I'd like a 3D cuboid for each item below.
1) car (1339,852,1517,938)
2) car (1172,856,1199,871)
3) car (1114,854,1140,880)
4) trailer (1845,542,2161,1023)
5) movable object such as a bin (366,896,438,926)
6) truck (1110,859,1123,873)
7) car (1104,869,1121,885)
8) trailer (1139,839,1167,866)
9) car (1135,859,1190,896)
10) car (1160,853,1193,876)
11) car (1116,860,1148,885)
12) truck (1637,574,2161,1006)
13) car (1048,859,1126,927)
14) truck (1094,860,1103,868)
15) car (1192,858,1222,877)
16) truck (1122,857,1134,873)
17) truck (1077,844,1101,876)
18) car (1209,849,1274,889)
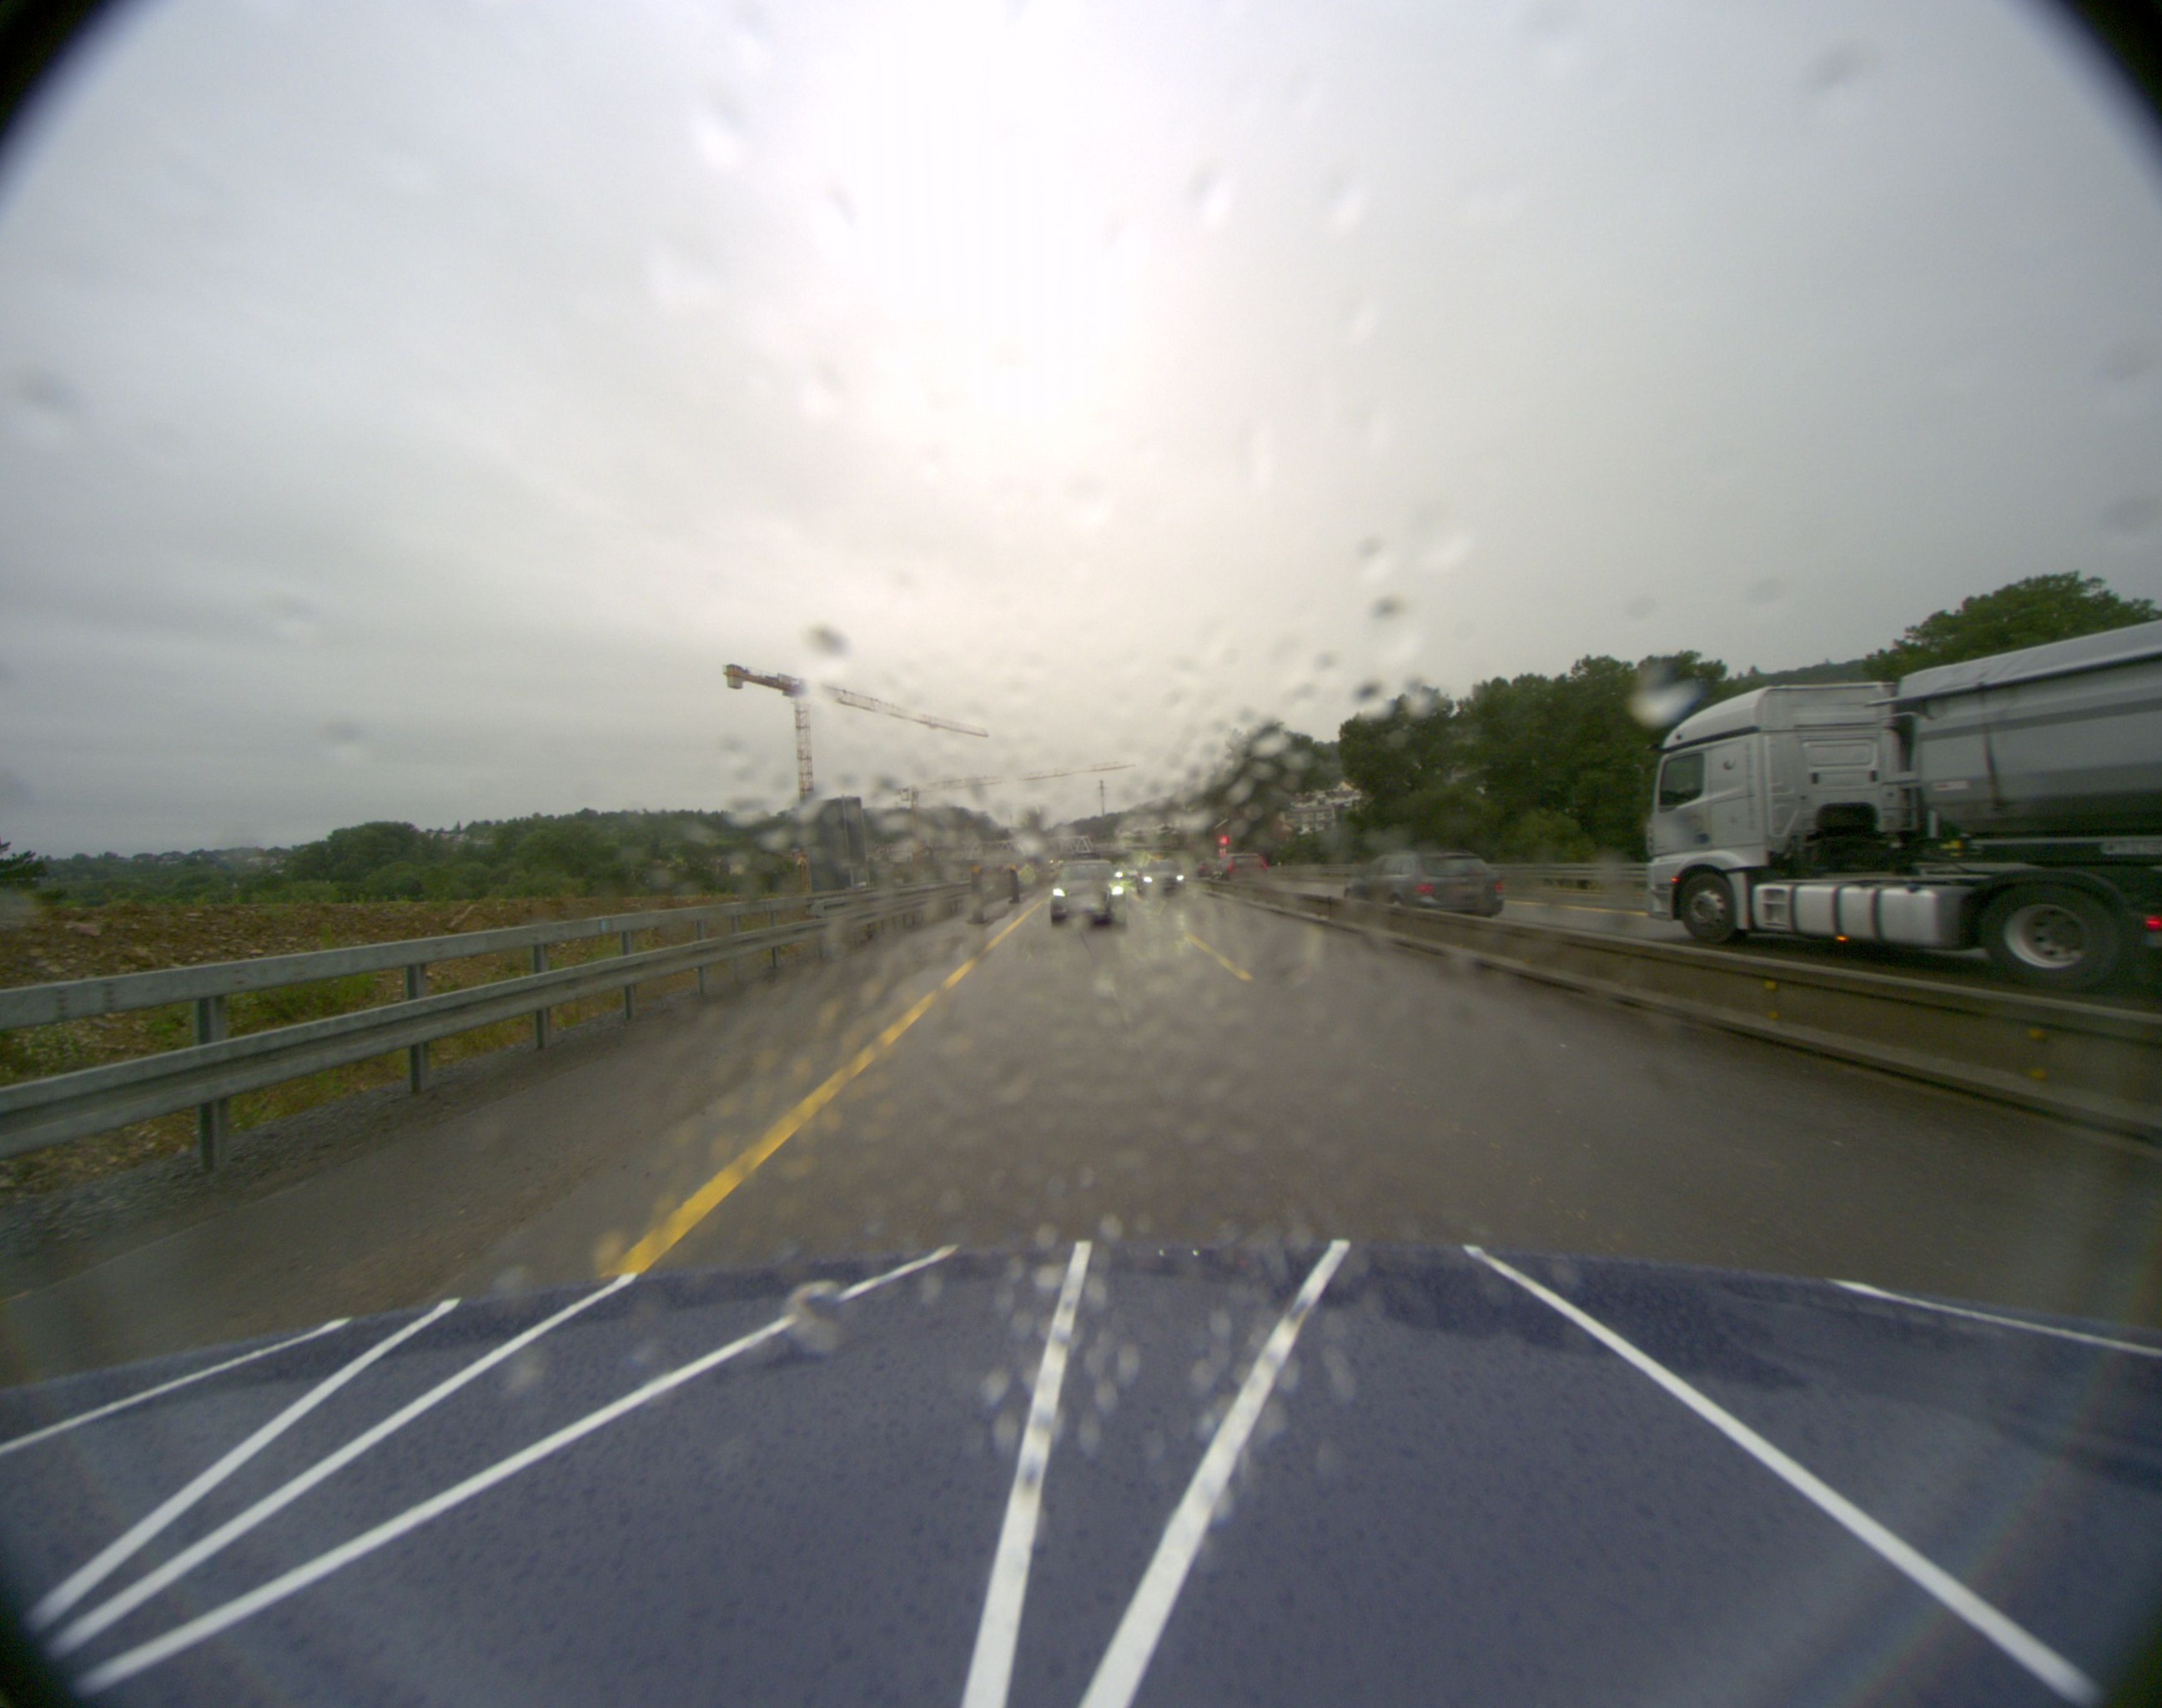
[{"bbox_3d":[6.751,0.719,15.274,1.714,1.445,4.000,-2,0,0],"label":"car"},{"bbox_3d":[11.159,1.074,81.477,1.999,1.501,4.746,-2,-1,-1],"label":"car"},{"bbox_3d":[3.783,1.057,61.656,1.998,2.001,4.002,-2,-1,4],"label":"car"},{"bbox_3d":[10.217,-0.607,3.911,2.693,3.940,9.819,-1,0,0],"label":"trailer"},{"bbox_3d":[-35.186,2.930,39.449,1.391,1.293,2.705,-2,0,-3],"label":"movable object such as a bin"},{"bbox_3d":[7.884,2.649,169.308,2.413,2.976,6.539,-2,0,1],"label":"truck"},{"bbox_3d":[4.365,3.246,106.148,1.999,2.001,4.189,-3,-2,0],"label":"car"},{"bbox_3d":[11.592,-0.136,123.485,3.285,3.885,13.701,-2,-1,1],"label":"trailer"},{"bbox_3d":[3.451,0.970,32.957,1.951,1.430,4.484,-2,0,1],"label":"car"},{"bbox_3d":[7.353,0.841,59.018,1.850,1.737,4.845,0,-1,-1],"label":"car"},{"bbox_3d":[3.214,1.153,48.574,1.781,1.430,4.484,-2,0,1],"label":"car"},{"bbox_3d":[10.252,-0.580,9.527,2.693,3.904,5.273,-1,0,0],"label":"truck"},{"bbox_3d":[0.175,0.931,19.936,1.781,1.514,4.140,-2,0,1],"label":"car"},{"bbox_3d":[5.924,3.351,255.515,2.800,2.769,5.498,-2,0,0],"label":"truck"},{"bbox_3d":[10.557,1.126,64.012,1.825,1.487,4.001,-2,-1,-1],"label":"car"},{"bbox_3d":[11.374,2.625,183.583,2.607,3.605,6.539,-2,0,1],"label":"truck"},{"bbox_3d":[0.901,0.647,87.973,2.575,3.450,6.627,-2,0,1],"label":"truck"},{"bbox_3d":[7.145,0.650,34.278,1.998,1.645,4.470,-1,0,0],"label":"car"}]
